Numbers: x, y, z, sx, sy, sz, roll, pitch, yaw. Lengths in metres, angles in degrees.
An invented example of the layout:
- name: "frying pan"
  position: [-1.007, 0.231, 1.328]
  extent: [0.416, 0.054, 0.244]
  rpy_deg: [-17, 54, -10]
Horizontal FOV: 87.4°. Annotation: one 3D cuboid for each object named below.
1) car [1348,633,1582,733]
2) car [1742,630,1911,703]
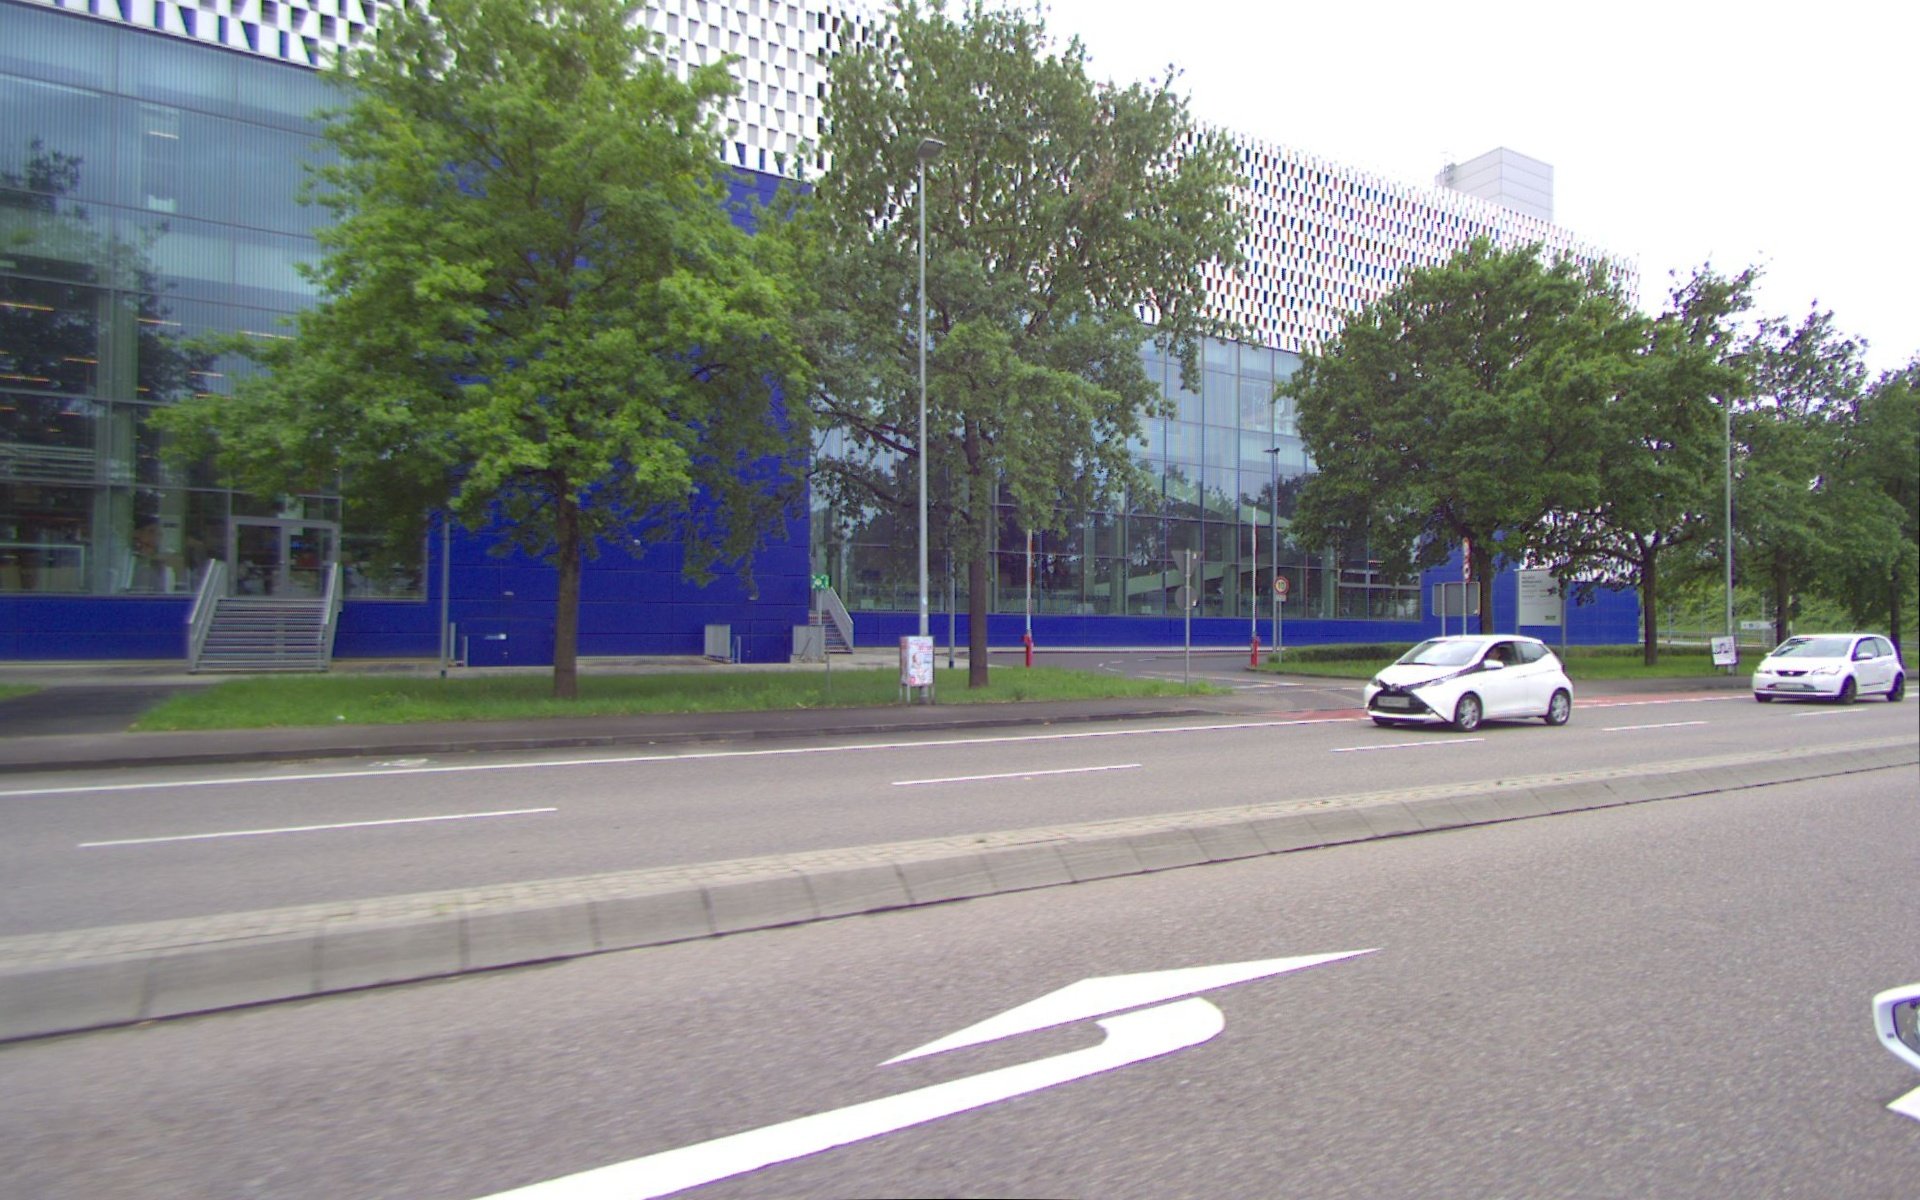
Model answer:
- name: "car"
  position: [8.125, 1.264, 16.129]
  extent: [3.567, 1.441, 1.617]
  rpy_deg: [1, -3, -29]
- name: "car"
  position: [18.973, 1.395, 21.973]
  extent: [3.606, 1.447, 1.669]
  rpy_deg: [1, -1, -29]
